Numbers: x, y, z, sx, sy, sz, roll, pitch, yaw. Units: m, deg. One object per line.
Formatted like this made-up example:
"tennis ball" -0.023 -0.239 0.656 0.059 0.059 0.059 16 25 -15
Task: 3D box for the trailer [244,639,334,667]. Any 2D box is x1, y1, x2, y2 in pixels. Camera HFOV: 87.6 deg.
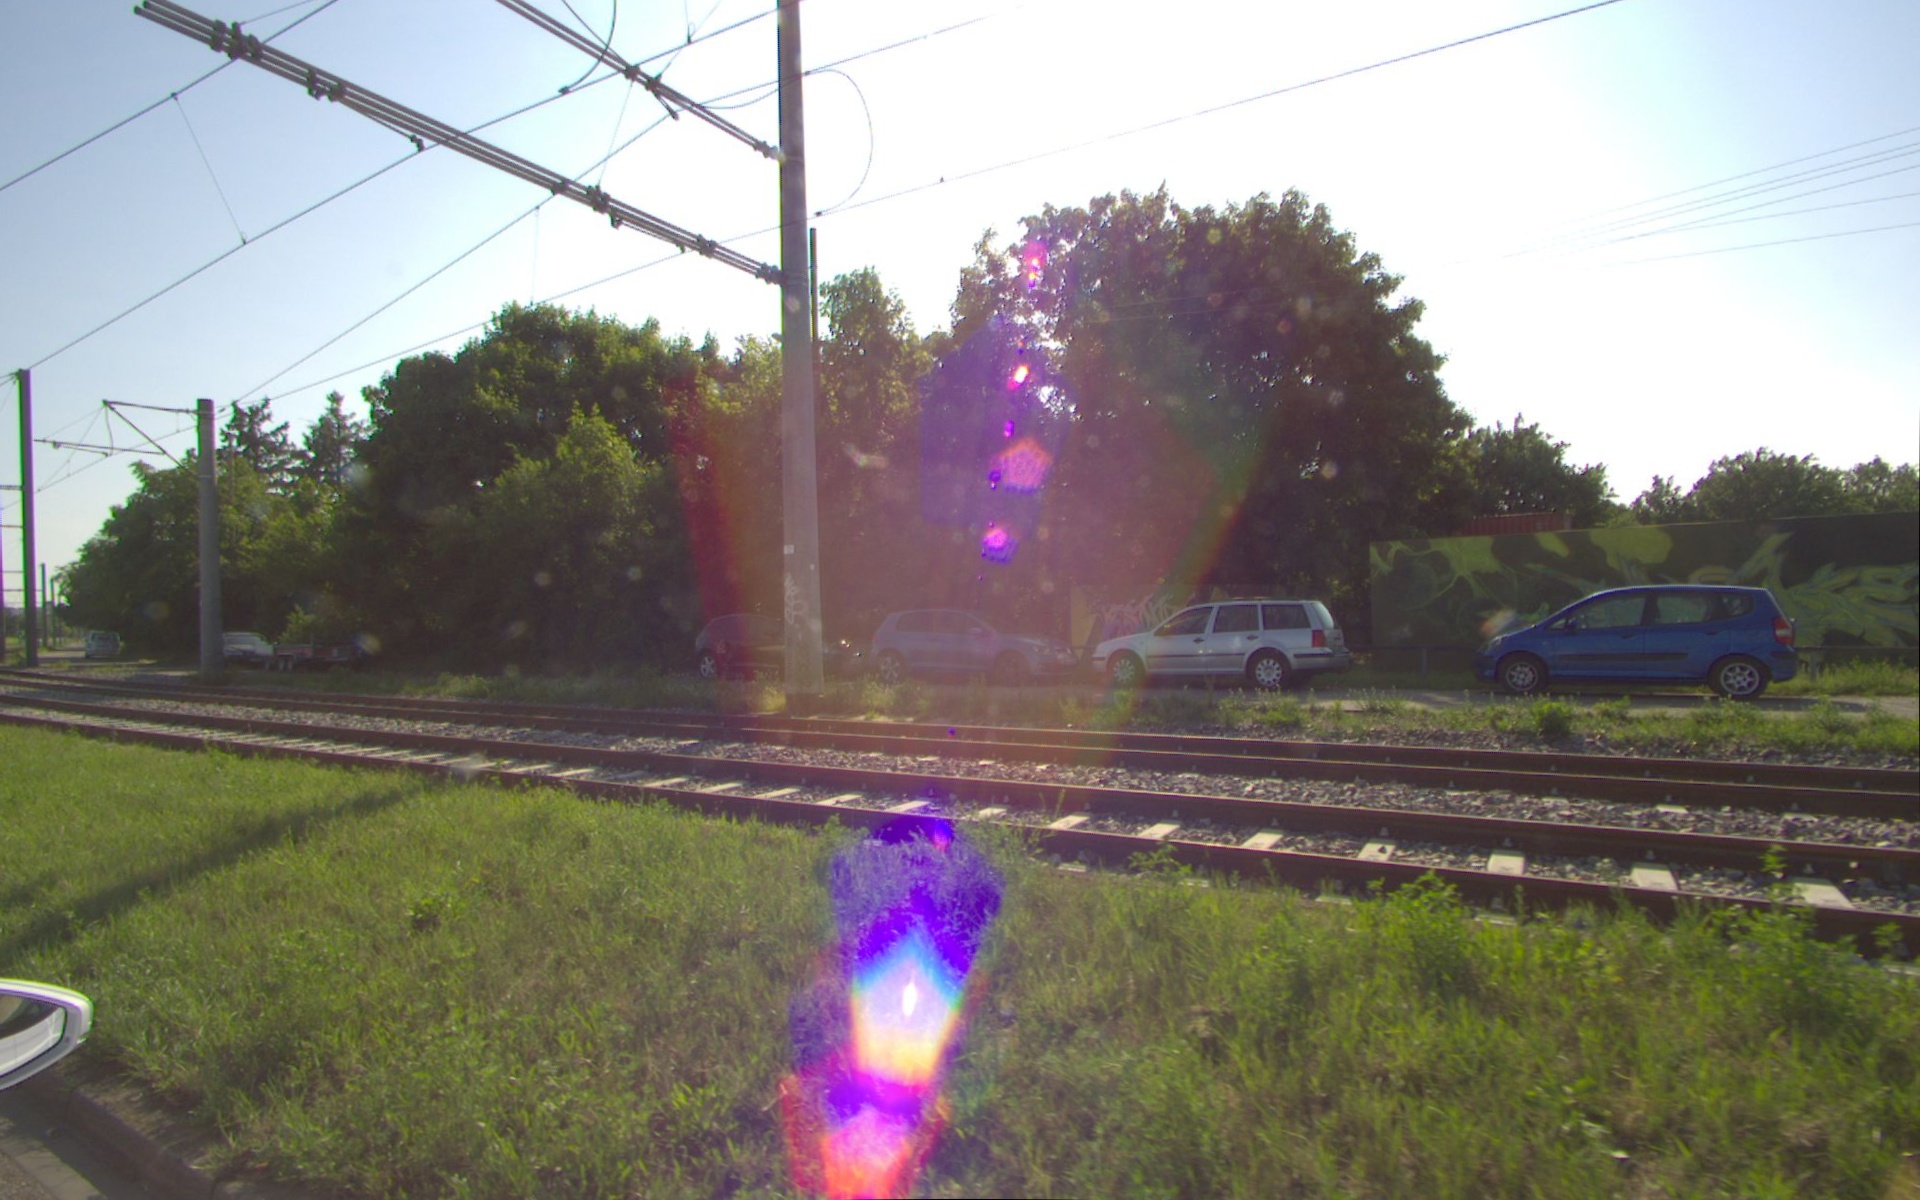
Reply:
"trailer" -24.351 1.918 36.311 3.684 0.951 1.725 -2 -4 40

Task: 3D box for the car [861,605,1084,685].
"car" 0.202 0.848 19.330 4.086 1.419 1.483 -1 0 28

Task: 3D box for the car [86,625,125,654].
"car" -62.479 2.892 73.206 1.980 2.029 5.022 3 -4 -42

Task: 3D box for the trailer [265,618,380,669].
"trailer" -21.409 1.461 33.601 4.208 1.616 2.019 -2 -3 39

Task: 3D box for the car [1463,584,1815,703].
"car" 9.275 0.584 13.967 3.859 1.448 1.674 -1 -2 35

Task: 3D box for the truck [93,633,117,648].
"truck" -111.109 5.269 130.108 2.188 1.842 5.877 0 -1 -42

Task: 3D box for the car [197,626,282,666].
"car" -28.164 1.768 39.084 4.826 1.475 1.691 -1 -3 42

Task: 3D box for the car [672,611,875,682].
"car" -4.134 1.011 21.967 4.455 1.428 1.620 -1 -2 31

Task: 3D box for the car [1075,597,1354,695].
"car" 4.283 0.724 17.117 4.329 1.485 1.705 -1 0 34
